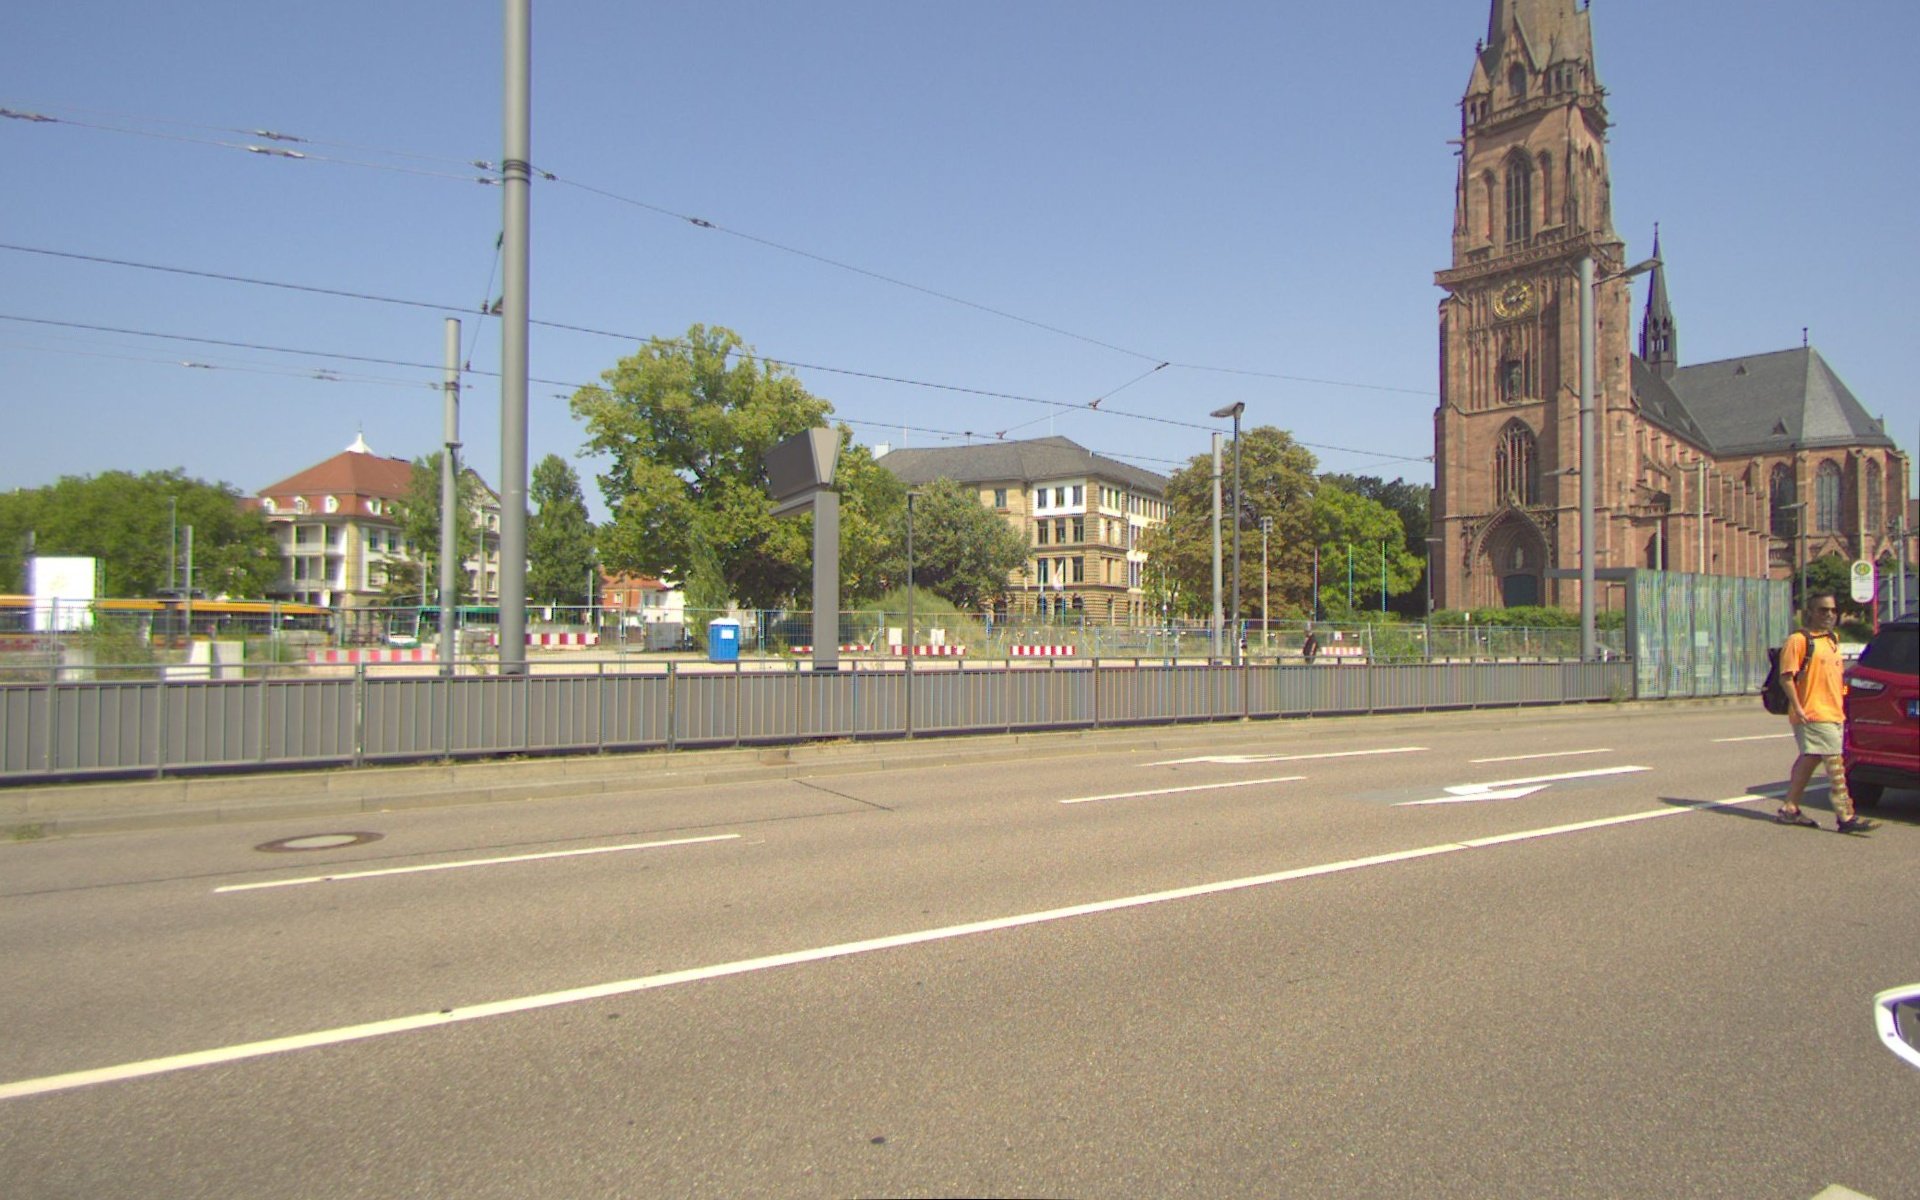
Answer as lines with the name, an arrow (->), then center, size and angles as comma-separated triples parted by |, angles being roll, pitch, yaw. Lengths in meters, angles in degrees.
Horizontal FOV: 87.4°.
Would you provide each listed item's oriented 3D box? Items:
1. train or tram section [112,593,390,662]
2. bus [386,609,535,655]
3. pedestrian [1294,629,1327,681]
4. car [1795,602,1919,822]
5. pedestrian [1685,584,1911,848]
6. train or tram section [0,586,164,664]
train or tram section -> -46.640, 2.035, 67.588 | 3.982, 3.972, 16.683 | -2, -3, 14
bus -> -36.813, 2.272, 74.892 | 2.491, 3.072, 12.442 | -2, -1, 14
pedestrian -> 12.058, 1.890, 34.577 | 0.712, 1.774, 0.825 | 2, -2, -29
car -> 9.009, 0.911, 8.406 | 4.032, 1.639, 1.755 | 2, -3, -29
pedestrian -> 6.157, 0.804, 7.422 | 0.753, 1.774, 1.062 | 2, -2, -26
train or tram section -> -50.761, 1.315, 51.408 | 3.982, 3.972, 16.683 | -2, -3, 14
